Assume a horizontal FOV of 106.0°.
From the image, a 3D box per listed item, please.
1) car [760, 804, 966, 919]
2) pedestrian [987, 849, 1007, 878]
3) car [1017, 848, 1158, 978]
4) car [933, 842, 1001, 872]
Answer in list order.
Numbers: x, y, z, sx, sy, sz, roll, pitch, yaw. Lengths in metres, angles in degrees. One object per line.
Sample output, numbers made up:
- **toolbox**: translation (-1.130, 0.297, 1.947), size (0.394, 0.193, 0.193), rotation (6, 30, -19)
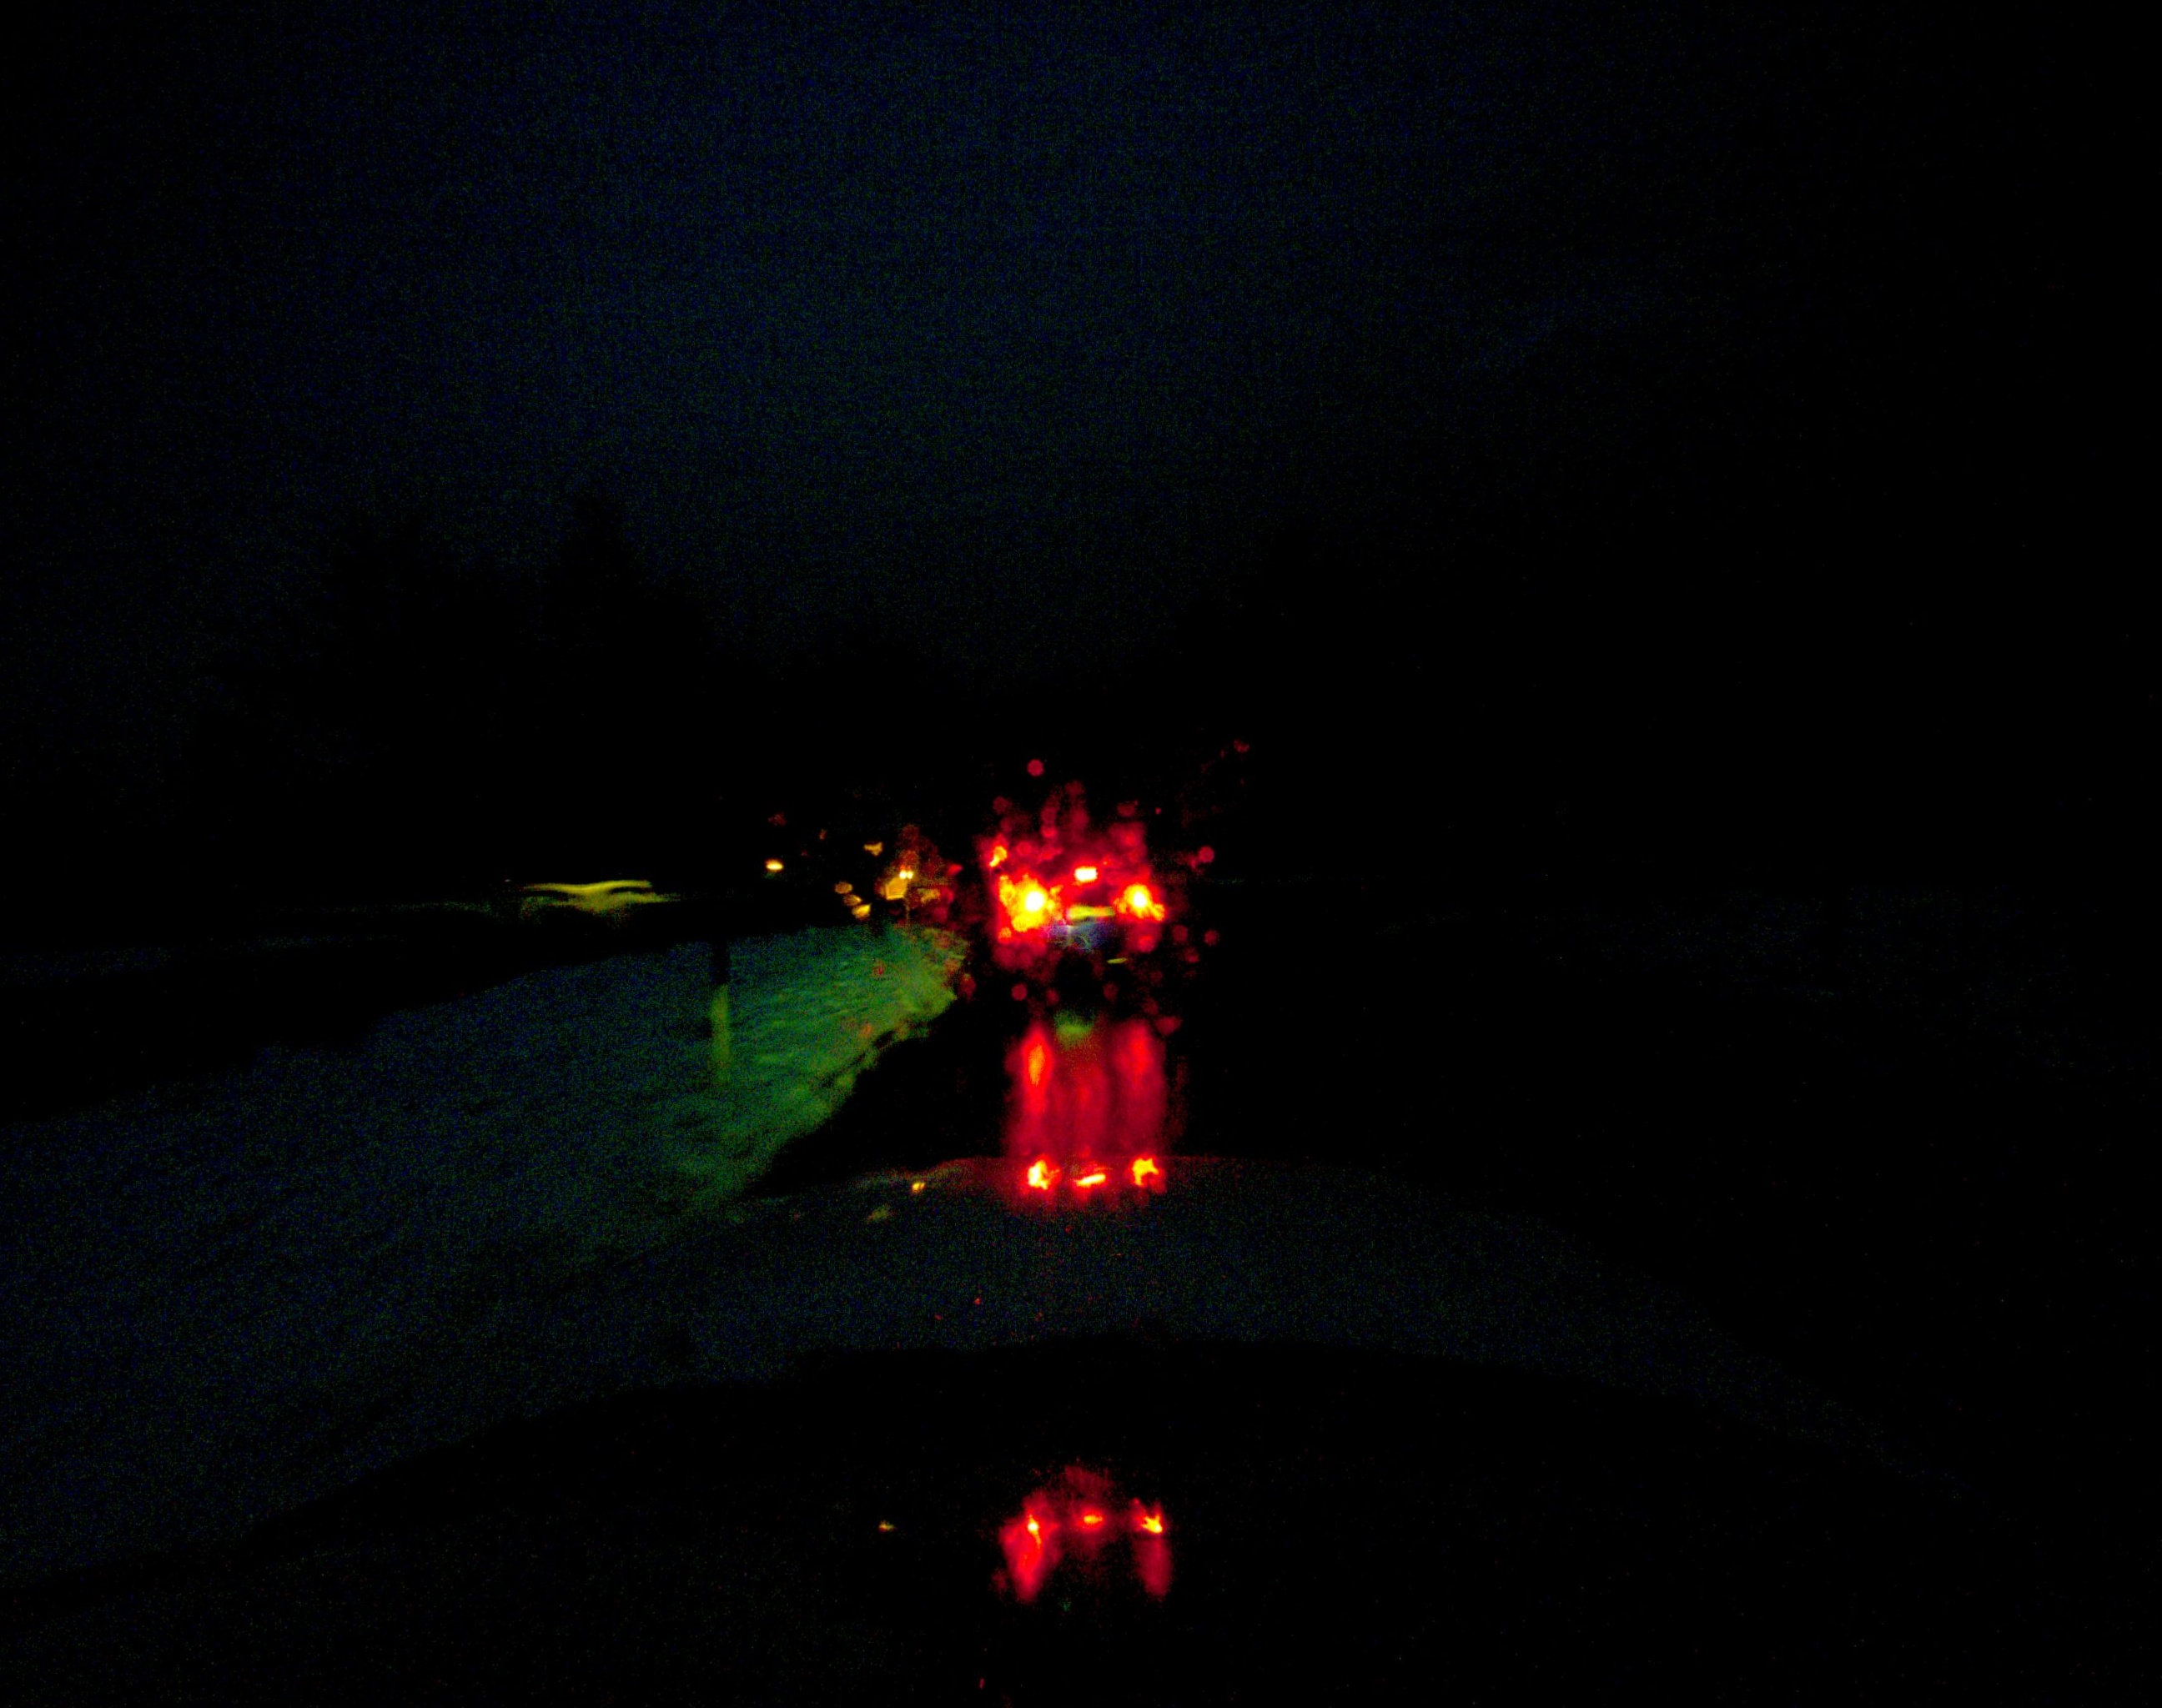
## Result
- **car**: translation (-5.821, 0.223, 21.501), size (5.457, 2.696, 2.167), rotation (-1, -1, 34)
- **pedestrian**: translation (-5.367, 0.597, 52.127), size (0.953, 1.828, 0.928), rotation (-1, -1, 14)
- **car**: translation (0.141, 0.701, 11.712), size (1.686, 1.552, 3.857), rotation (0, 0, 2)
- **car**: translation (-7.375, 0.182, 52.724), size (3.923, 1.881, 2.005), rotation (0, -1, 9)
